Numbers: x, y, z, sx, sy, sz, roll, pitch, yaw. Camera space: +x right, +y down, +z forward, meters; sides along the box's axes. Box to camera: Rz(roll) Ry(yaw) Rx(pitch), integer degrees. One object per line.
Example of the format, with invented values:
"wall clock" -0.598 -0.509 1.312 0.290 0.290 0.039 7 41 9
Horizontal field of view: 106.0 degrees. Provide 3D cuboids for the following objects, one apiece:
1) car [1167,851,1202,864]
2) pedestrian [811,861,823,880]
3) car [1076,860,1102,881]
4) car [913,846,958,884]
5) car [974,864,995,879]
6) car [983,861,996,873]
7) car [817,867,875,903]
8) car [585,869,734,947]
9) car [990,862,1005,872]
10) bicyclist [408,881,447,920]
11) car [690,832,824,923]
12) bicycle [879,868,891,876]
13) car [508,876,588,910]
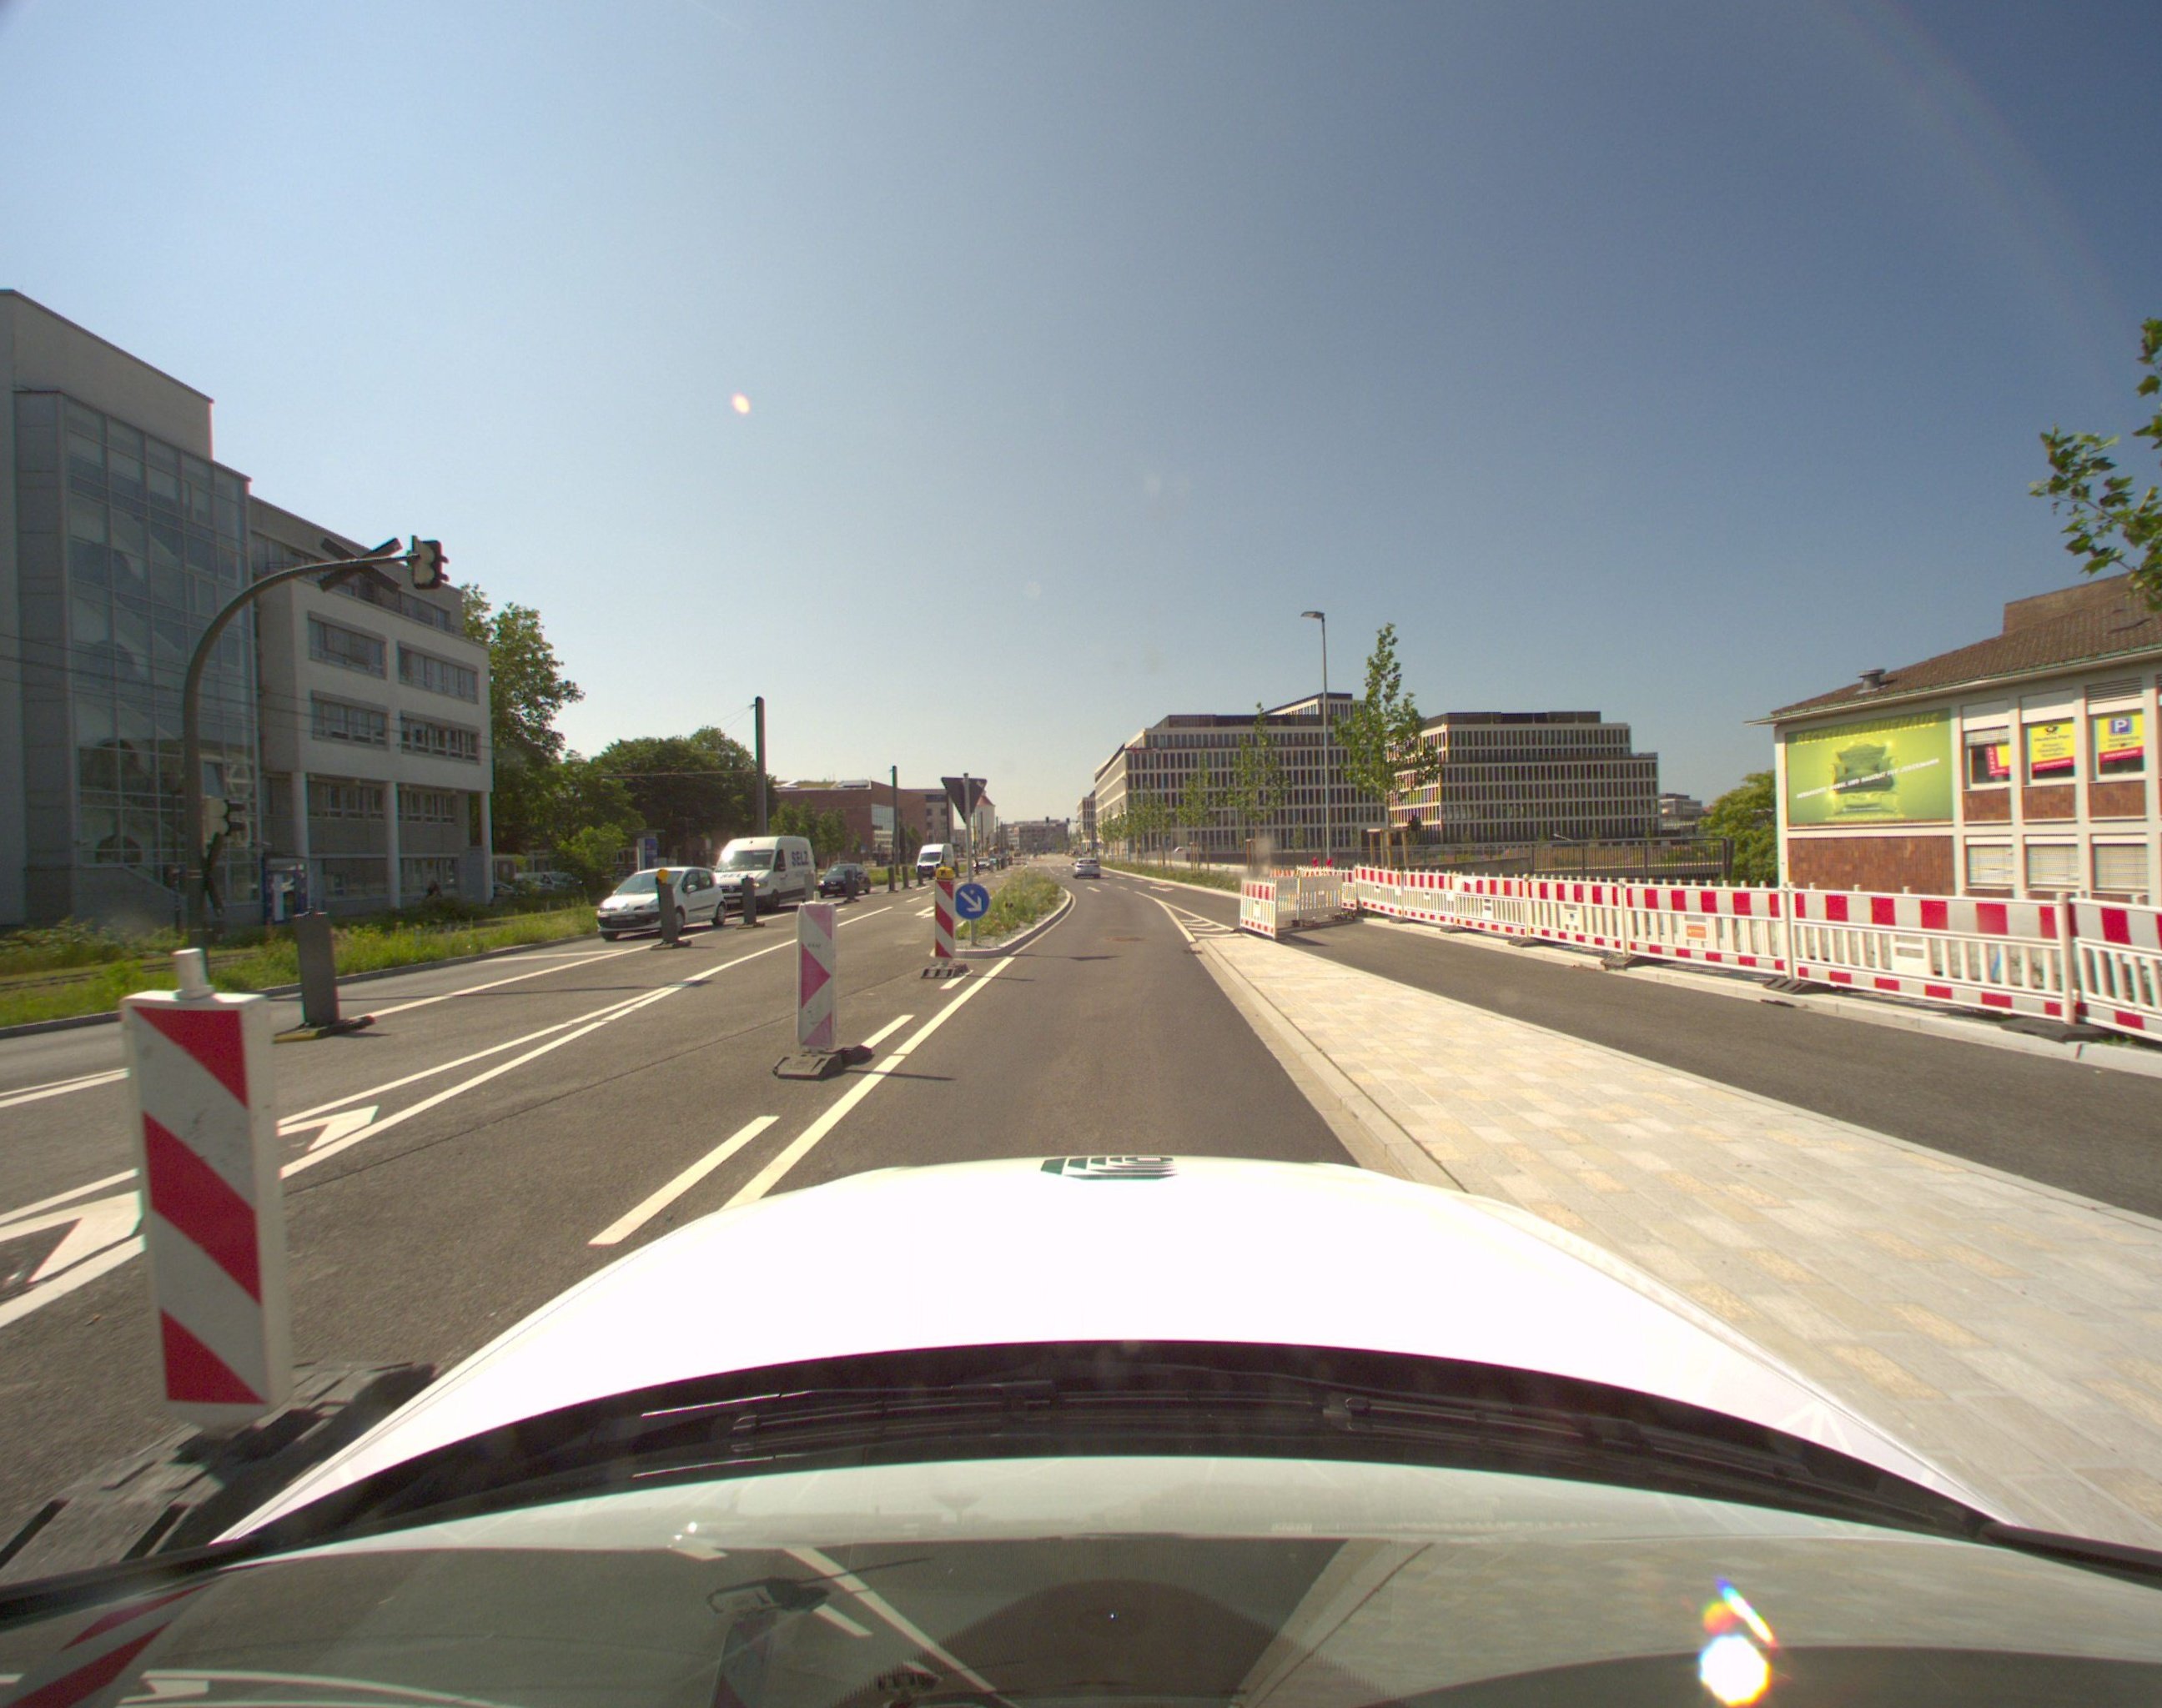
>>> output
"car" 18.168 0.634 142.925 5.824 2.270 2.144 1 0 -3
"pedestrian" -28.516 1.764 88.083 0.980 2.013 0.910 0 0 -1
"car" 0.529 1.168 57.114 1.766 1.395 3.529 0 -1 -1
"car" -11.400 0.871 64.227 2.069 2.740 5.989 -3 0 2
"car" -10.434 1.907 88.537 1.668 1.443 4.467 -3 0 0
"car" -12.140 1.748 108.387 1.578 1.530 3.613 -4 -1 -6
"car" -10.909 1.388 38.077 1.542 1.457 4.188 -4 0 -3
"car" -9.999 1.201 19.673 1.577 1.541 3.974 -4 0 -3
"car" -12.263 1.871 119.631 1.574 1.416 4.297 -2 0 1
"bicyclist" -26.819 1.906 33.425 0.752 1.539 1.076 -1 -1 -2
"car" -10.743 0.732 27.648 2.025 2.578 6.190 -4 0 -2
"bicycle" -35.794 3.226 148.627 2.054 1.453 0.537 -1 0 -14
"car" -36.507 2.647 55.810 5.014 2.179 2.126 -2 0 23
